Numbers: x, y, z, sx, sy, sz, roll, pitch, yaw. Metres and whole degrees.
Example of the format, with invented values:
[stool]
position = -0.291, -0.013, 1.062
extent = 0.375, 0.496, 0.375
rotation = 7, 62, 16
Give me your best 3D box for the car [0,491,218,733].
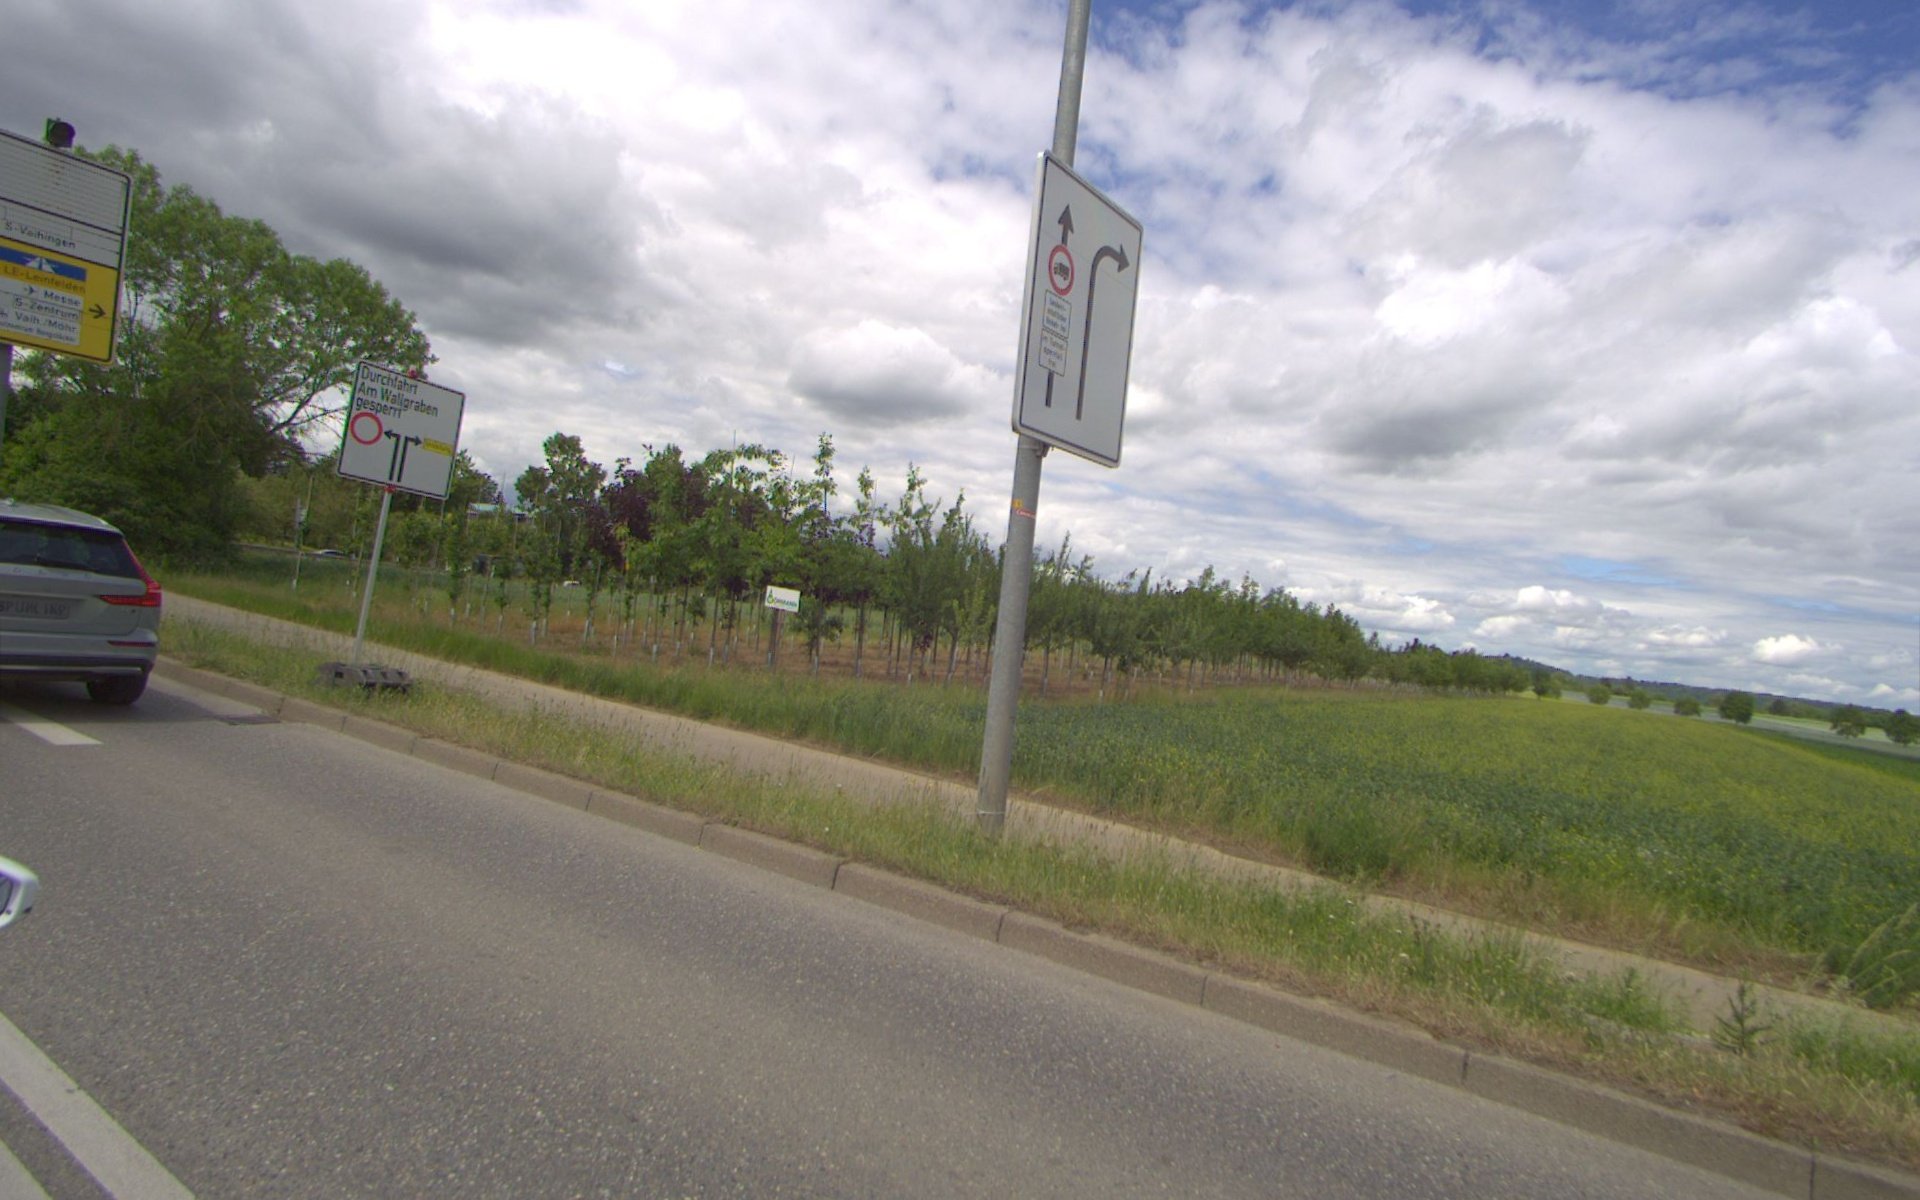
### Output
[car]
position = -7.873, -0.122, 7.726
extent = 4.371, 1.537, 1.865
rotation = 7, 0, 31
